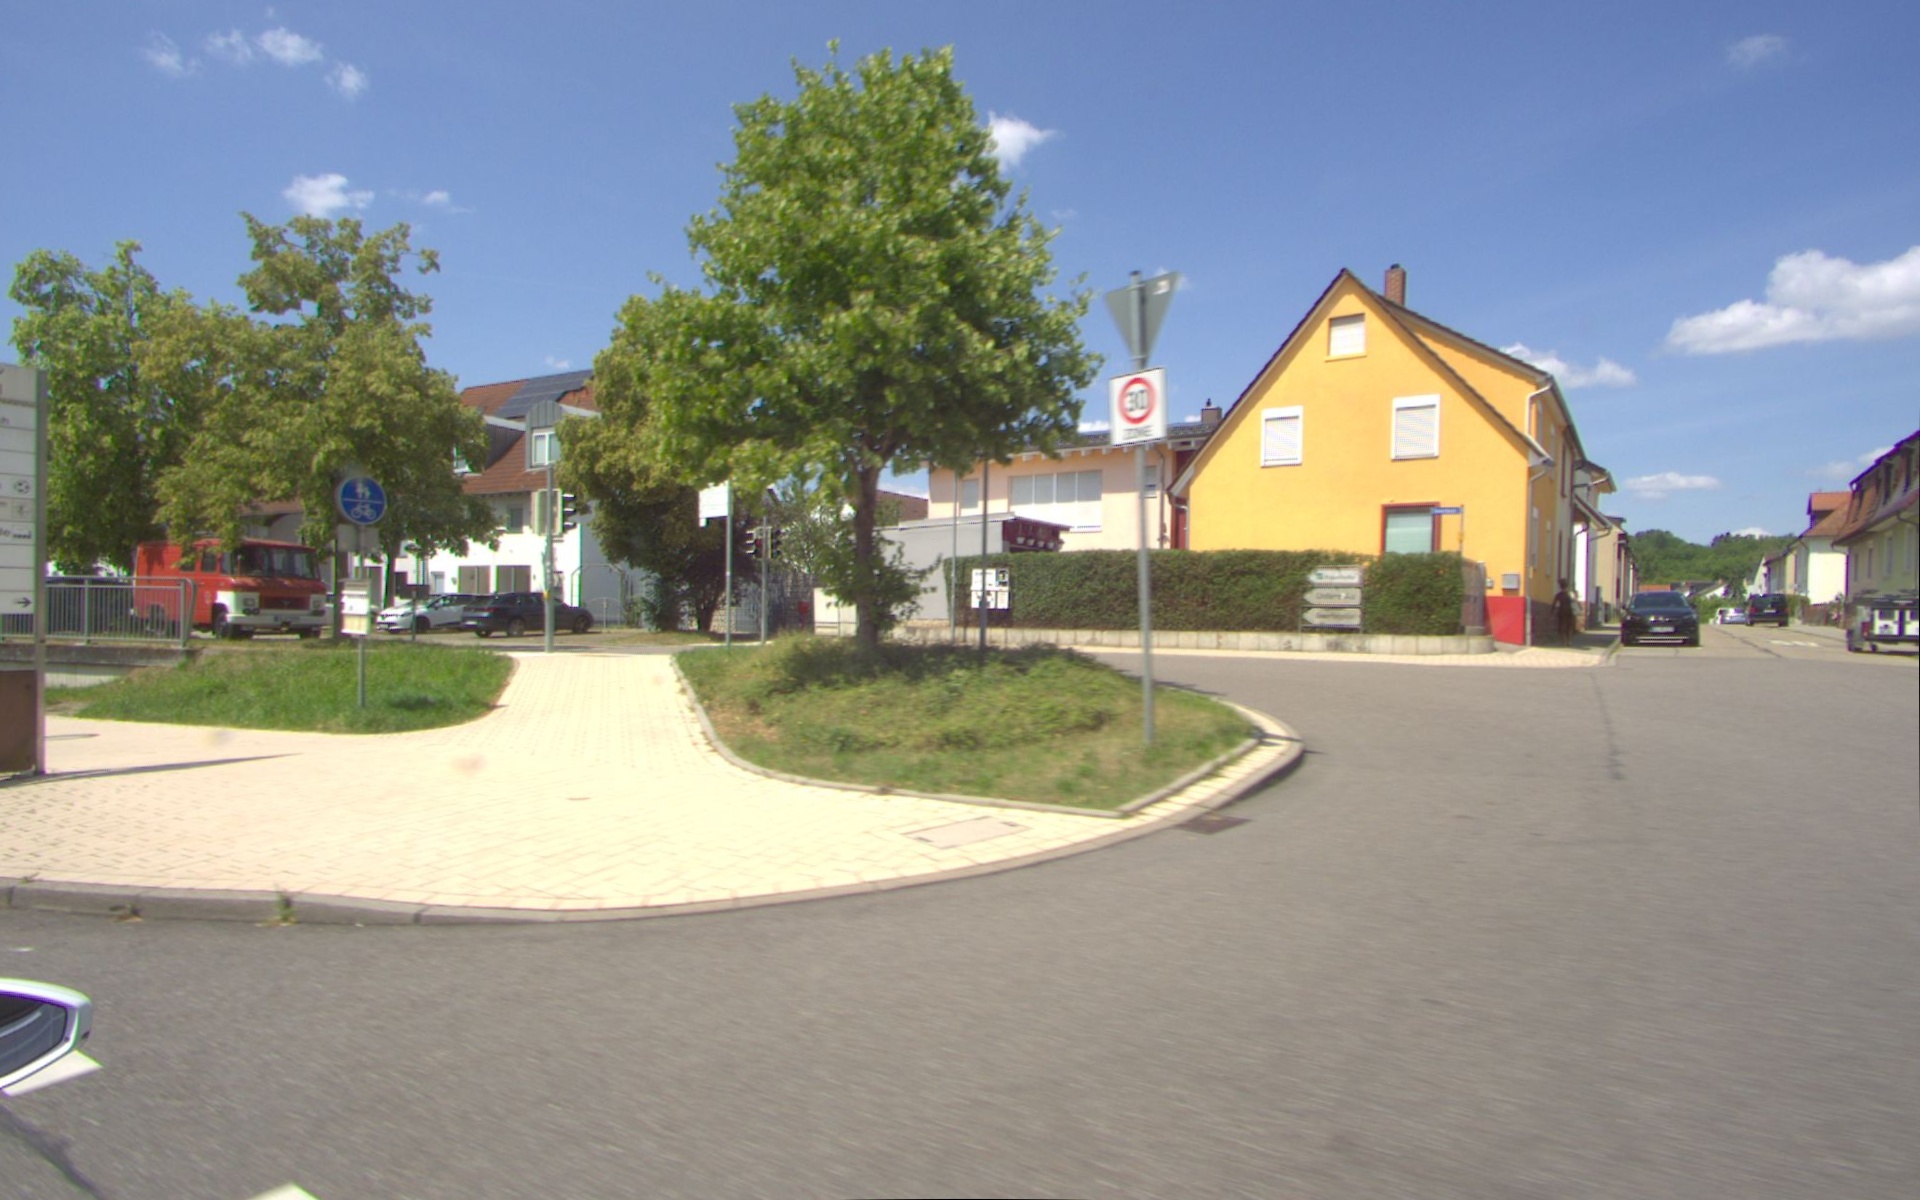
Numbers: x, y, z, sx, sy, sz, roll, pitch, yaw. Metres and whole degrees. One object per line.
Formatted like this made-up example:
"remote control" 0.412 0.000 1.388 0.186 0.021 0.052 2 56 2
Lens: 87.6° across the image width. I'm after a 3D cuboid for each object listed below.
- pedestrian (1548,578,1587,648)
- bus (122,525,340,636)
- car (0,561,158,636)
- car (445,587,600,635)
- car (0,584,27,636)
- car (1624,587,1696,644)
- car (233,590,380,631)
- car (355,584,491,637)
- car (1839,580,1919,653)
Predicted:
"pedestrian" 16.074 0.336 26.492 0.681 1.772 0.869 6 4 34
"bus" -17.434 -0.456 23.896 5.281 2.398 2.186 1 1 29
"car" -23.613 0.019 25.995 1.831 1.649 3.995 -2 -4 21
"car" -14.579 0.349 33.615 1.970 1.499 4.478 1 0 30
"car" -28.290 0.233 27.215 1.700 1.446 3.981 0 -2 32
"car" 20.526 0.512 29.402 1.622 1.558 3.977 -1 -2 35
"car" -25.777 0.403 39.663 1.970 1.499 4.478 1 0 30
"car" -19.245 0.446 36.046 1.835 1.649 3.986 -3 -4 28
"car" 25.139 0.481 27.046 1.622 1.851 3.977 -1 -2 35
